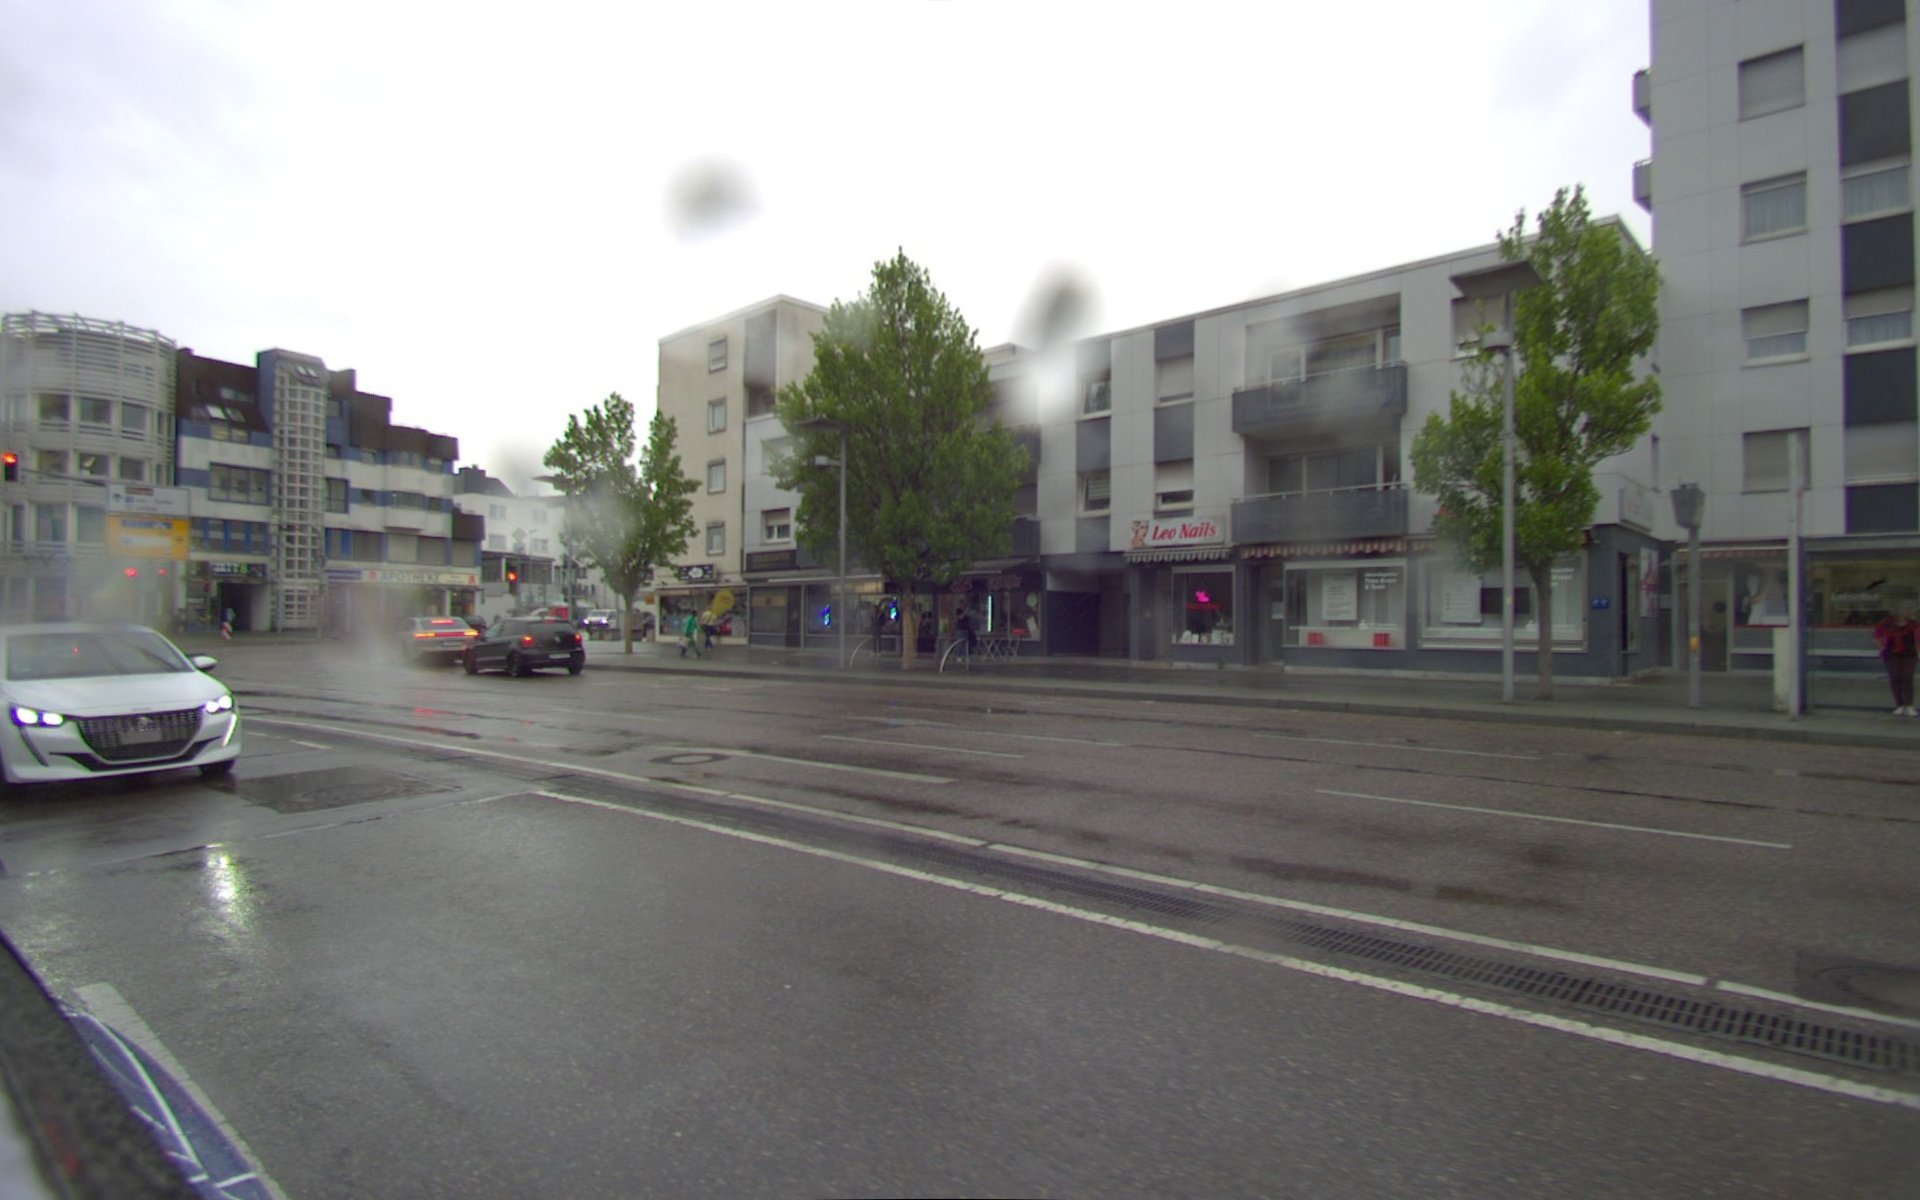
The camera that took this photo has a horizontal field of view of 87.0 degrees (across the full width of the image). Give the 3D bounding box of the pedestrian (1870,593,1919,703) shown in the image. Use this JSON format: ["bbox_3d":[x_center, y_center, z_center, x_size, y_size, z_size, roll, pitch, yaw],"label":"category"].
[{"bbox_3d":[13.268,0.662,14.157,0.611,1.516,0.533,-1,-1,20],"label":"pedestrian"}]

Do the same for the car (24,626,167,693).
[{"bbox_3d":[-20.891,1.402,24.422,3.991,1.462,1.742,-2,-2,36],"label":"car"}]

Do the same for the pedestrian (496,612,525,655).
[{"bbox_3d":[-20.567,1.514,46.304,0.977,1.929,0.893,-2,-2,43],"label":"pedestrian"}]

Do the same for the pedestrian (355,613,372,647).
[{"bbox_3d":[-30.907,1.537,52.456,0.672,1.756,0.587,0,0,-21],"label":"pedestrian"}]

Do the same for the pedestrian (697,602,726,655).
[{"bbox_3d":[-9.683,1.123,39.429,0.864,2.029,0.750,-2,-2,42],"label":"pedestrian"}]

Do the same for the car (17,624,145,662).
[{"bbox_3d":[-37.225,1.786,42.949,1.621,1.501,3.813,-1,-1,20],"label":"car"}]

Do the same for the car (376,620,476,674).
[{"bbox_3d":[-15.936,1.324,30.066,1.735,1.438,4.897,0,-1,-39],"label":"car"}]

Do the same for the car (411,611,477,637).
[{"bbox_3d":[-35.905,1.668,70.552,1.737,1.733,3.863,-1,-1,25],"label":"car"}]

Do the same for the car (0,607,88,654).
[{"bbox_3d":[-42.058,1.351,45.391,1.789,2.029,4.149,-1,-1,29],"label":"car"}]

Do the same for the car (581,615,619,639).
[{"bbox_3d":[-31.304,2.315,88.108,1.970,2.029,4.602,0,-1,-4],"label":"car"}]

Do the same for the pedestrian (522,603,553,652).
[{"bbox_3d":[-17.970,1.174,43.005,0.977,2.029,0.893,-2,-2,43],"label":"pedestrian"}]

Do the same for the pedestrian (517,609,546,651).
[{"bbox_3d":[-19.927,1.390,47.064,0.977,1.929,0.893,-2,-2,43],"label":"pedestrian"}]

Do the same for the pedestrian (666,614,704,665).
[{"bbox_3d":[-9.279,1.312,34.104,0.727,1.658,0.996,-1,-1,43],"label":"pedestrian"}]

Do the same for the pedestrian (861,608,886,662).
[{"bbox_3d":[-2.903,1.172,34.013,0.541,1.763,0.681,1,-2,-45],"label":"pedestrian"}]

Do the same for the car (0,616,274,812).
[{"bbox_3d":[-8.332,0.909,9.624,3.866,1.473,1.855,-1,-1,37],"label":"car"}]

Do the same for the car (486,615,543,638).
[{"bbox_3d":[-34.097,2.005,77.606,1.737,1.733,3.863,-1,-1,25],"label":"car"}]

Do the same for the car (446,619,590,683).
[{"bbox_3d":[-10.988,1.228,25.069,3.998,1.438,1.739,-2,-2,41],"label":"car"}]

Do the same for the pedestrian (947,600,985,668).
[{"bbox_3d":[0.190,1.030,31.052,0.749,2.029,0.865,1,-2,-44],"label":"pedestrian"}]

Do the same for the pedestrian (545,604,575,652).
[{"bbox_3d":[-17.381,1.213,44.011,0.977,2.029,0.893,-2,-2,43],"label":"pedestrian"}]

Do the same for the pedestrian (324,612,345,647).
[{"bbox_3d":[-31.619,1.480,51.150,0.826,1.756,0.586,0,0,-41],"label":"pedestrian"}]
